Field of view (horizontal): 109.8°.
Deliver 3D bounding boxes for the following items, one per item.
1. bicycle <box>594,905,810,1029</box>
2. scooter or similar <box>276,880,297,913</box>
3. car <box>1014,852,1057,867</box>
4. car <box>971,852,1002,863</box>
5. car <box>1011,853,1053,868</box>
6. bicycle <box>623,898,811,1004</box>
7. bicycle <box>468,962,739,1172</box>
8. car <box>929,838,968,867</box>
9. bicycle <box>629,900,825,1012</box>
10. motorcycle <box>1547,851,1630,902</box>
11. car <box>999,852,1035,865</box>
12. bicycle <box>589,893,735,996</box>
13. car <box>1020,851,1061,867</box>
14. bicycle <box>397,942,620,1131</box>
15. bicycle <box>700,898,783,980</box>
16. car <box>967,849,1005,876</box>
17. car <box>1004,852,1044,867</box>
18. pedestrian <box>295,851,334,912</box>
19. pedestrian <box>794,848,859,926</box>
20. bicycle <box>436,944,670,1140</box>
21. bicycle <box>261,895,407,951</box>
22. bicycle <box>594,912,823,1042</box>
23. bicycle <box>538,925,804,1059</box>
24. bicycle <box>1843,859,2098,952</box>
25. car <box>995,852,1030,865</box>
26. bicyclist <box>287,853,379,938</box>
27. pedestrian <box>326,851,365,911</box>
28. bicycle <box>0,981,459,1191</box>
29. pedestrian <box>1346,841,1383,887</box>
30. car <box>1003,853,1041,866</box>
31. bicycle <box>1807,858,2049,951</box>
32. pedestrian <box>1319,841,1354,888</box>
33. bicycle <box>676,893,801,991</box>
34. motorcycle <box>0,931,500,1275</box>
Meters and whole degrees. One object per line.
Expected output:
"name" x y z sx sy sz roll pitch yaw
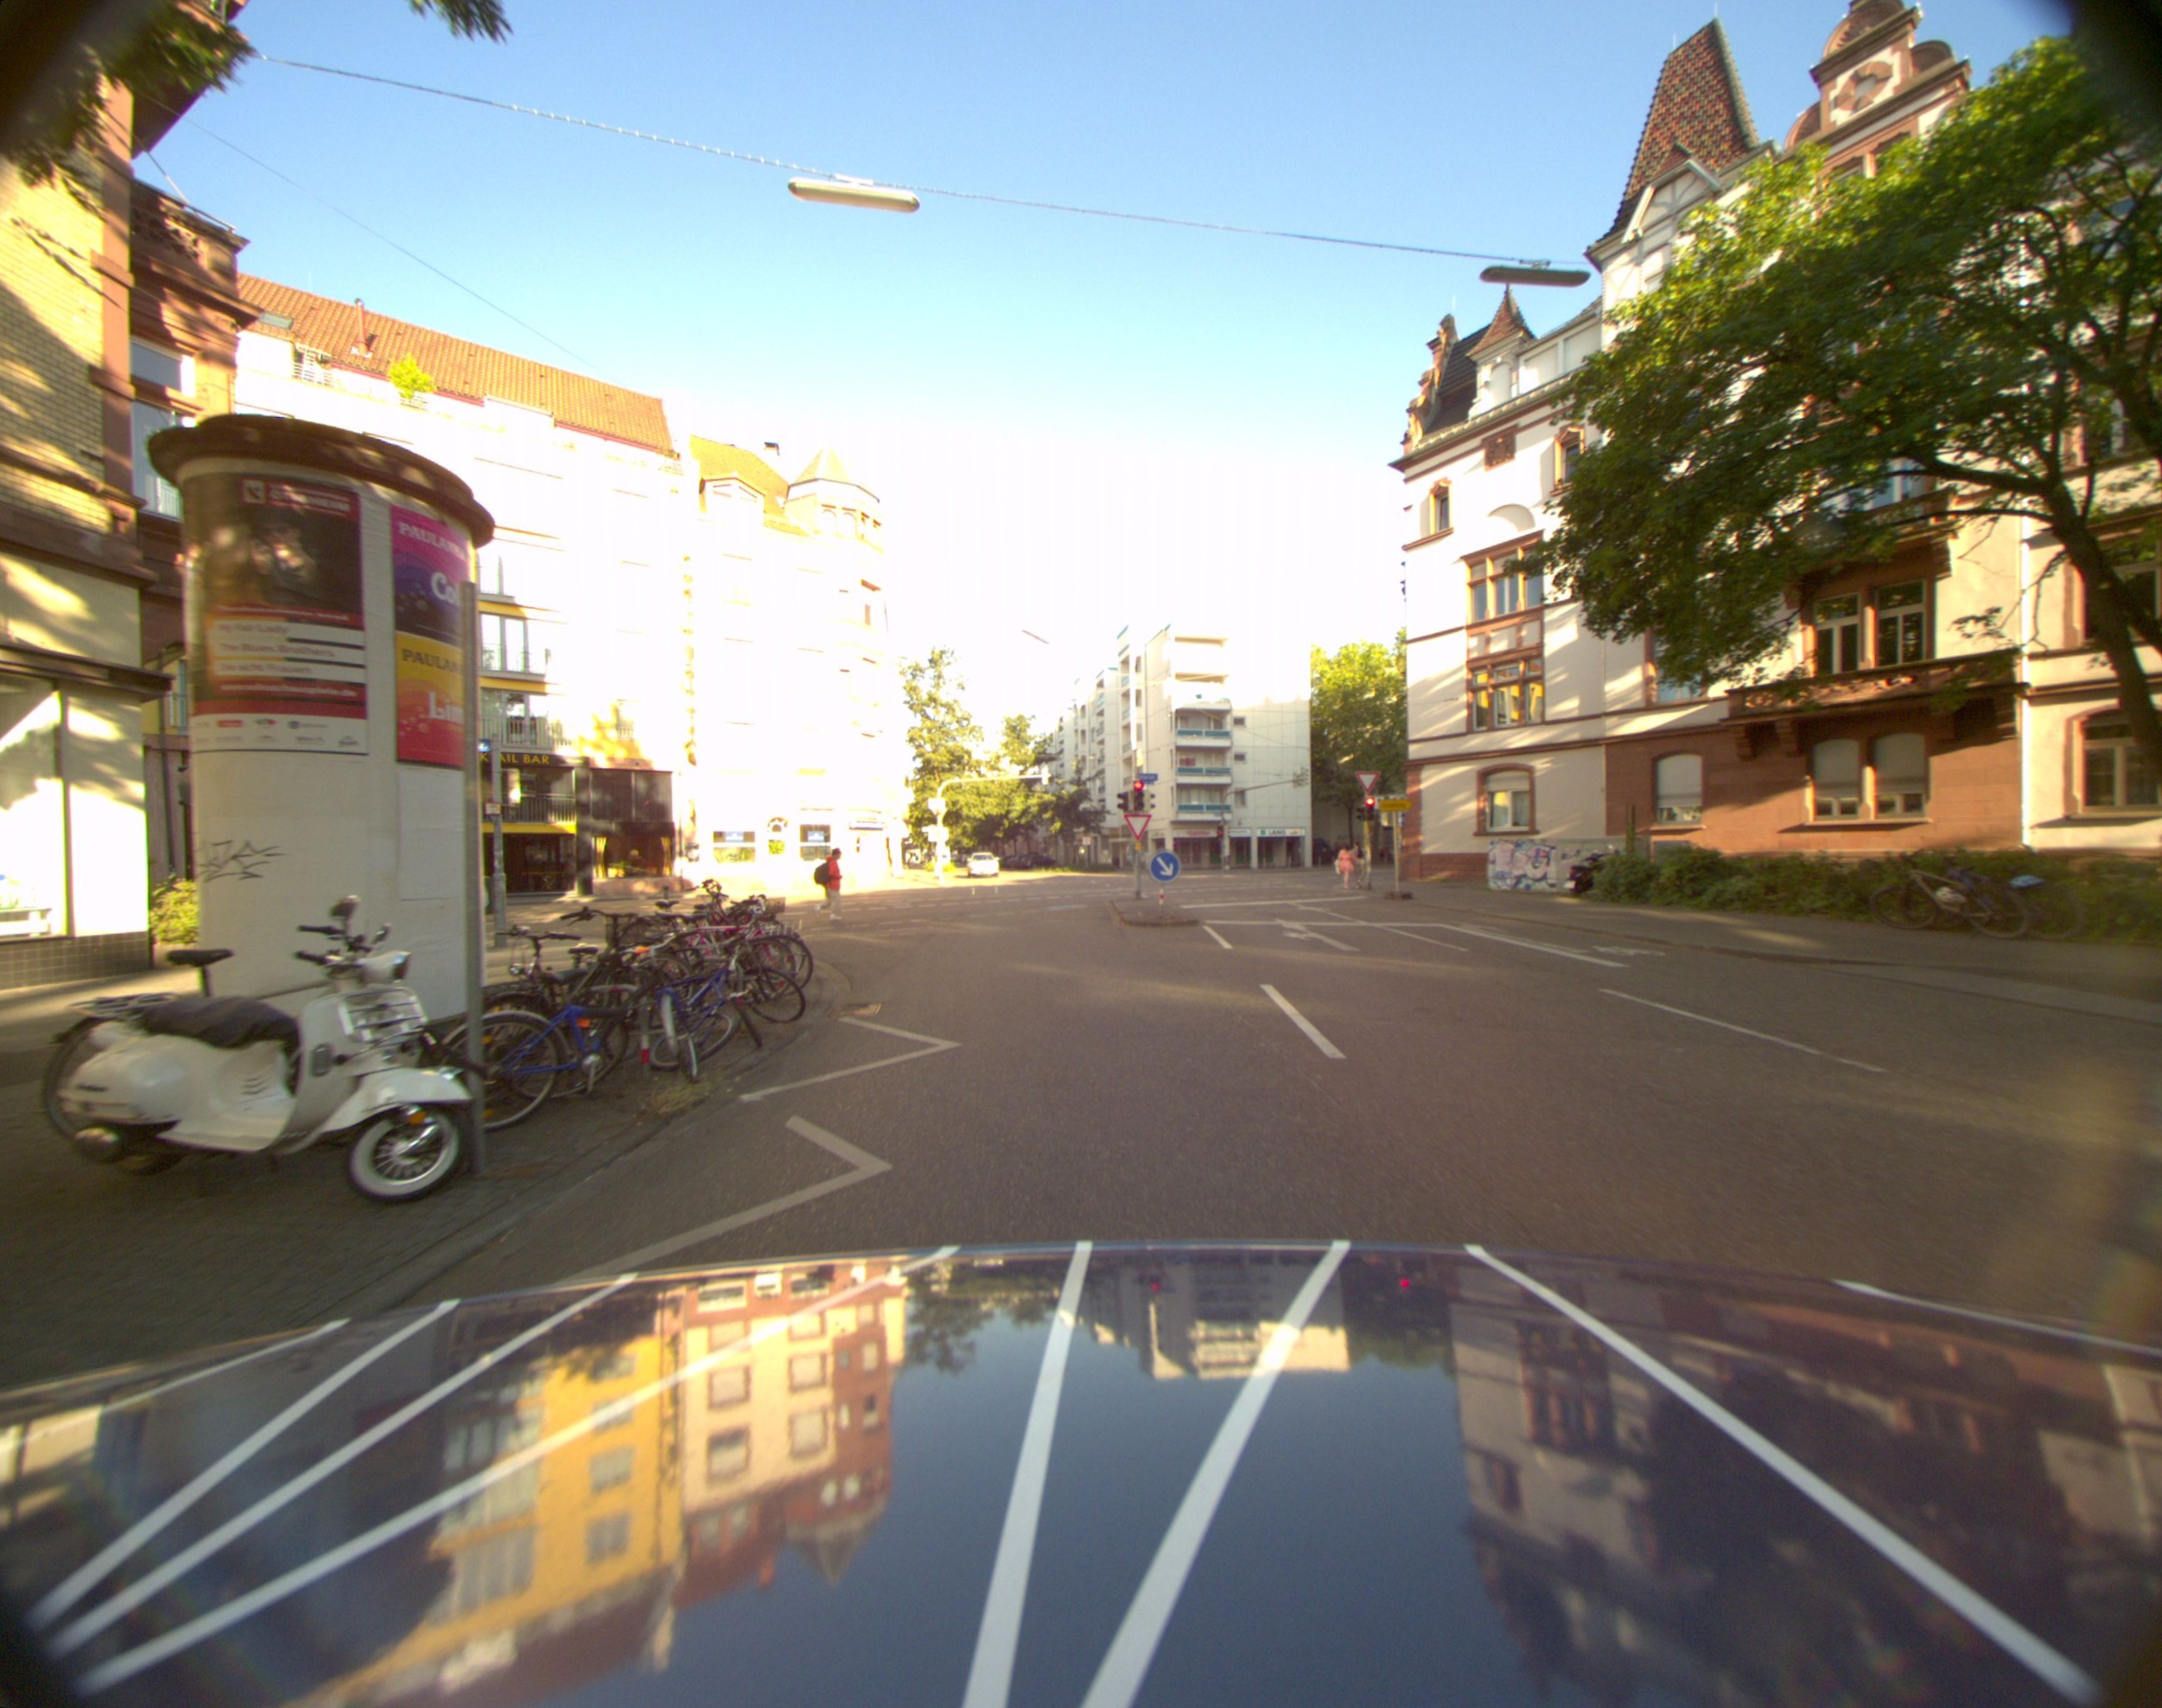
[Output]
"bicycle" -3.866 1.111 7.862 1.940 1.087 0.424 1 1 -37
"scooter or similar" -24.235 1.292 23.174 0.358 0.972 0.421 -2 5 -37
"car" -5.029 0.590 83.876 4.309 1.576 1.996 -1 1 -20
"car" -14.271 0.489 114.381 4.308 1.576 1.997 -1 1 -19
"car" -5.556 0.694 86.412 4.309 1.576 1.996 -1 1 -20
"bicycle" -4.251 1.091 8.994 1.940 1.087 0.424 1 1 -39
"bicycle" -2.894 1.238 4.751 0.353 0.922 1.416 3 1 30
"car" -15.152 -0.171 86.439 3.328 3.160 8.070 -1 0 -18
"bicycle" -3.959 1.100 8.615 1.940 1.087 0.424 1 1 -39
"motorcycle" 13.416 0.576 20.078 2.113 1.258 0.841 -1 1 -25
"car" -8.272 0.623 97.876 4.308 1.576 1.997 -1 1 -19
"bicycle" -5.160 1.078 9.441 0.572 1.087 1.480 3 1 32
"car" -4.373 0.498 81.520 4.004 1.576 1.996 -1 1 -20
"bicycle" -3.863 1.174 5.275 0.354 0.922 1.525 2 1 1
"bicycle" -4.725 1.159 10.634 1.000 1.021 0.737 -1 1 -22
"car" -6.413 0.544 50.888 2.001 1.740 3.994 -1 0 -15
"car" -6.624 0.639 88.603 4.309 1.576 1.996 -1 1 -20
"pedestrian" -23.934 0.845 23.729 0.680 1.831 0.724 -1 5 -35
"pedestrian" -5.728 0.703 17.075 1.175 1.670 1.005 -1 1 -29
"bicycle" -3.467 1.174 5.149 0.354 0.922 1.526 2 1 8
"bicycle" -14.369 1.306 14.695 1.882 0.907 0.633 -3 0 -30
"bicycle" -3.598 1.144 7.455 1.940 1.046 0.501 1 1 -37
"bicycle" -3.442 1.141 6.550 1.939 0.982 0.495 2 1 -22
"bicycle" 13.162 0.684 11.457 0.547 1.189 2.959 -1 0 4
"car" -9.017 0.564 100.166 4.308 1.576 1.997 -1 1 -19
"bicyclist" -14.418 0.781 14.677 1.083 1.544 0.633 -3 0 -30
"pedestrian" -23.184 0.830 23.970 0.737 1.831 0.724 -1 5 -35
"bicycle" -4.341 1.178 3.923 1.935 0.922 0.354 2 1 -1
"pedestrian" 10.498 0.363 28.148 0.870 1.688 0.982 -1 1 -20
"car" -7.335 0.704 94.731 4.308 1.576 1.997 -1 1 -19
"bicycle" 12.568 0.681 11.493 0.547 1.189 2.959 -1 0 4
"pedestrian" 9.407 0.384 27.930 0.867 1.688 0.986 0 1 44
"bicycle" -4.365 1.085 9.785 0.424 1.087 1.480 3 1 30
"motorcycle" -3.759 1.011 3.318 1.902 1.227 0.686 2 1 0
